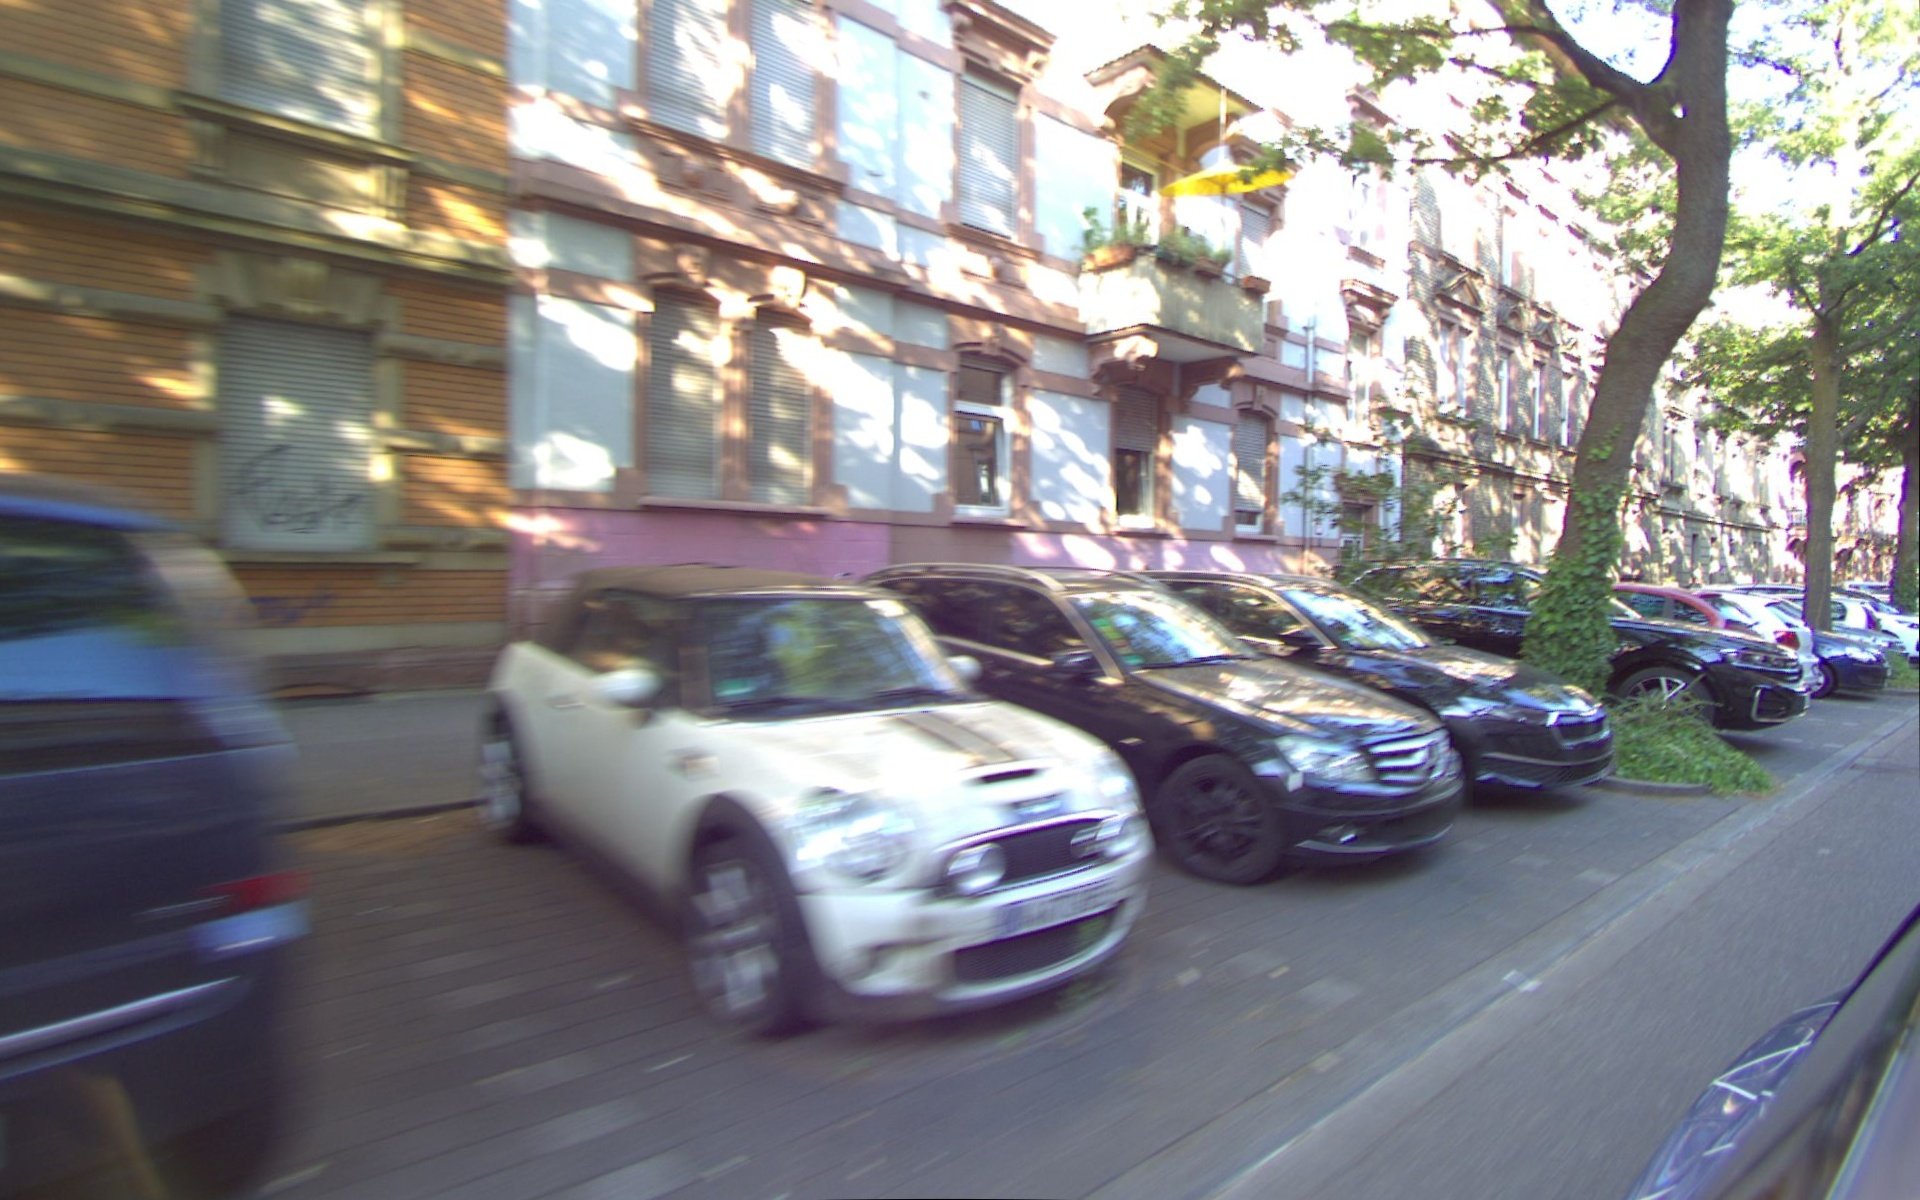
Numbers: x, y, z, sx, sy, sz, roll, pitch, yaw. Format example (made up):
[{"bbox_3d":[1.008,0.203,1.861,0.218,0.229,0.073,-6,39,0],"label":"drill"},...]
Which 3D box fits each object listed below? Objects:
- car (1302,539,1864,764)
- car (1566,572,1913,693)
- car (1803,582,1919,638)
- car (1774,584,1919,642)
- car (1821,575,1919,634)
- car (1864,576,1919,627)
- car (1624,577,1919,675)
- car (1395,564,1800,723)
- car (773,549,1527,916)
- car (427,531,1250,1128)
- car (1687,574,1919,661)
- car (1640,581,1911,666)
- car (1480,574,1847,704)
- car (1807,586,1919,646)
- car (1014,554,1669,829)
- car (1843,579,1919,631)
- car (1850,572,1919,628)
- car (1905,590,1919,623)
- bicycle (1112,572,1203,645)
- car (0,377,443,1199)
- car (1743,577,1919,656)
[{"bbox_3d":[6.236,0.322,10.612,1.851,1.723,4.651,0,4,-44],"label":"car"},{"bbox_3d":[12.057,0.405,15.874,1.648,1.404,3.997,0,5,-41],"label":"car"},{"bbox_3d":[28.356,0.330,30.566,1.903,1.472,4.153,0,4,-41],"label":"car"},{"bbox_3d":[26.231,0.342,29.285,1.659,1.513,3.992,0,2,-43],"label":"car"},{"bbox_3d":[30.459,0.150,32.386,1.910,1.810,4.136,0,2,-39],"label":"car"},{"bbox_3d":[38.676,0.148,39.474,4.636,1.913,1.890,4,2,28],"label":"car"},{"bbox_3d":[15.120,0.402,18.918,1.771,1.555,4.227,0,2,-43],"label":"car"},{"bbox_3d":[7.868,0.406,12.752,1.753,1.610,3.991,0,2,-44],"label":"car"},{"bbox_3d":[0.807,0.461,6.604,1.898,1.521,4.669,0,2,-41],"label":"car"},{"bbox_3d":[-0.955,0.503,4.709,1.780,1.521,4.113,0,2,-41],"label":"car"},{"bbox_3d":[18.954,0.317,22.292,1.859,1.676,4.483,-2,3,-42],"label":"car"},{"bbox_3d":[16.787,0.412,21.003,1.769,1.488,4.110,0,2,-39],"label":"car"},{"bbox_3d":[9.839,0.437,14.370,1.753,1.480,3.991,0,2,-44],"label":"car"},{"bbox_3d":[25.144,0.424,26.756,1.657,1.474,3.996,0,2,-40],"label":"car"},{"bbox_3d":[2.697,0.441,8.152,1.964,1.548,4.564,0,2,-39],"label":"car"},{"bbox_3d":[33.893,0.269,34.916,2.044,1.652,4.927,0,5,-44],"label":"car"},{"bbox_3d":[36.100,0.103,37.150,2.140,1.924,4.927,0,5,-44],"label":"car"},{"bbox_3d":[43.372,0.426,42.976,1.868,1.384,4.471,0,4,-39],"label":"car"},{"bbox_3d":[3.060,0.122,15.588,1.673,1.063,0.325,0,2,-38],"label":"bicycle"},{"bbox_3d":[-3.008,0.419,2.785,3.886,1.669,1.697,3,2,45],"label":"car"},{"bbox_3d":[21.442,0.338,23.793,1.858,1.676,4.487,-2,3,-39],"label":"car"}]
